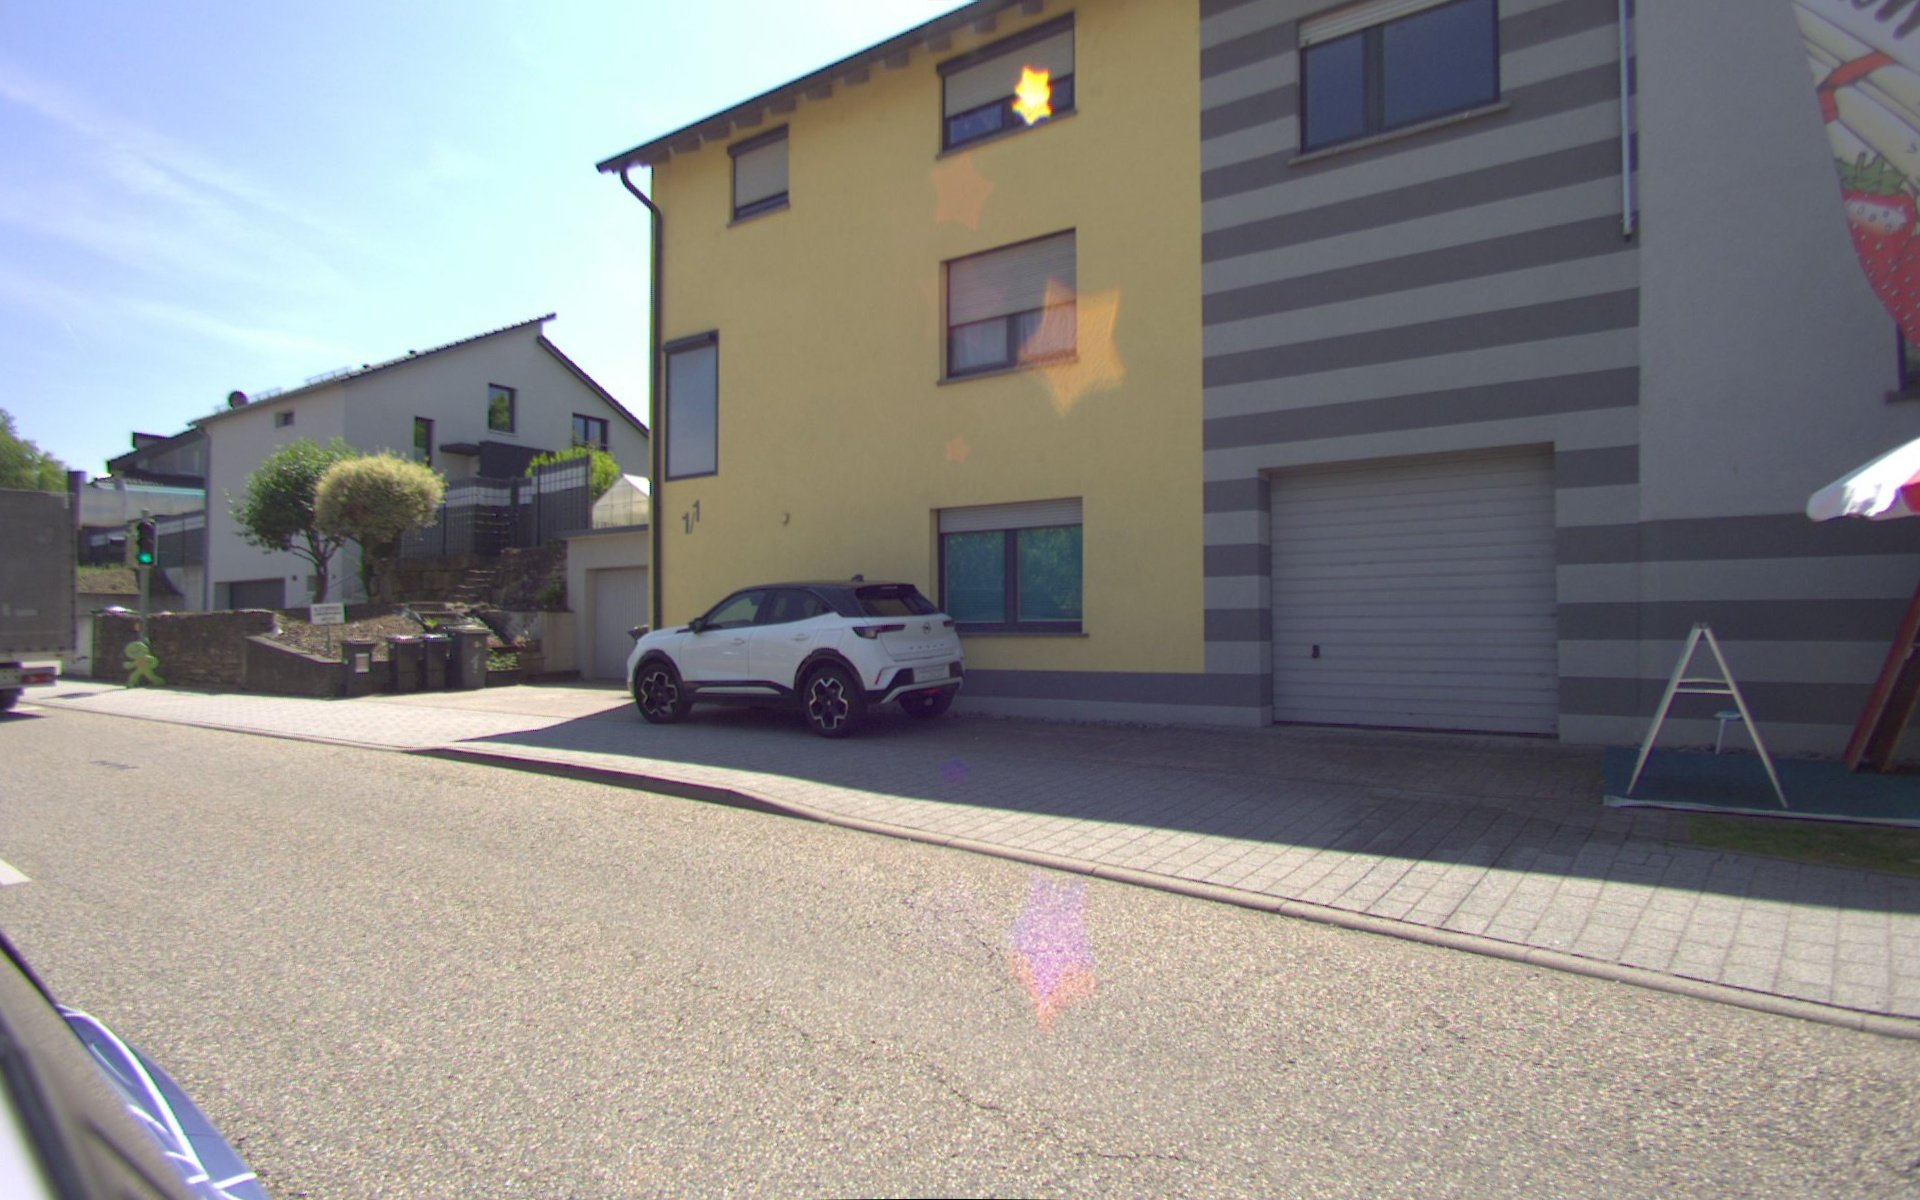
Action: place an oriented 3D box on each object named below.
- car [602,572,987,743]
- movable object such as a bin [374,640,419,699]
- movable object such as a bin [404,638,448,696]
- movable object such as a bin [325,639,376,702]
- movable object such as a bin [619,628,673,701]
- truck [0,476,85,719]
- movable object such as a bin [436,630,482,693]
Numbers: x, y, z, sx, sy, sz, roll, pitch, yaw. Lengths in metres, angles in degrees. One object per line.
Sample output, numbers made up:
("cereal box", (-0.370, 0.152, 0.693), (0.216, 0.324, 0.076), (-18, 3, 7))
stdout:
("car", (-1.909, 0.569, 11.127), (4.178, 1.564, 1.715), (-1, -1, 35))
("movable object such as a bin", (-9.197, 1.123, 16.517), (0.560, 0.935, 0.443), (-1, -1, 33))
("movable object such as a bin", (-8.948, 1.116, 16.963), (0.529, 0.945, 0.443), (-1, -2, 33))
("movable object such as a bin", (-9.598, 1.094, 15.944), (0.552, 0.955, 0.496), (-1, -1, 33))
("movable object such as a bin", (-4.691, 0.953, 15.133), (0.606, 1.051, 0.496), (-1, -1, 33))
("truck", (-16.758, 0.033, 15.850), (7.591, 3.392, 2.448), (-1, 1, 32))
("movable object such as a bin", (-8.600, 1.044, 17.371), (0.632, 1.063, 0.467), (-1, -1, 33))
